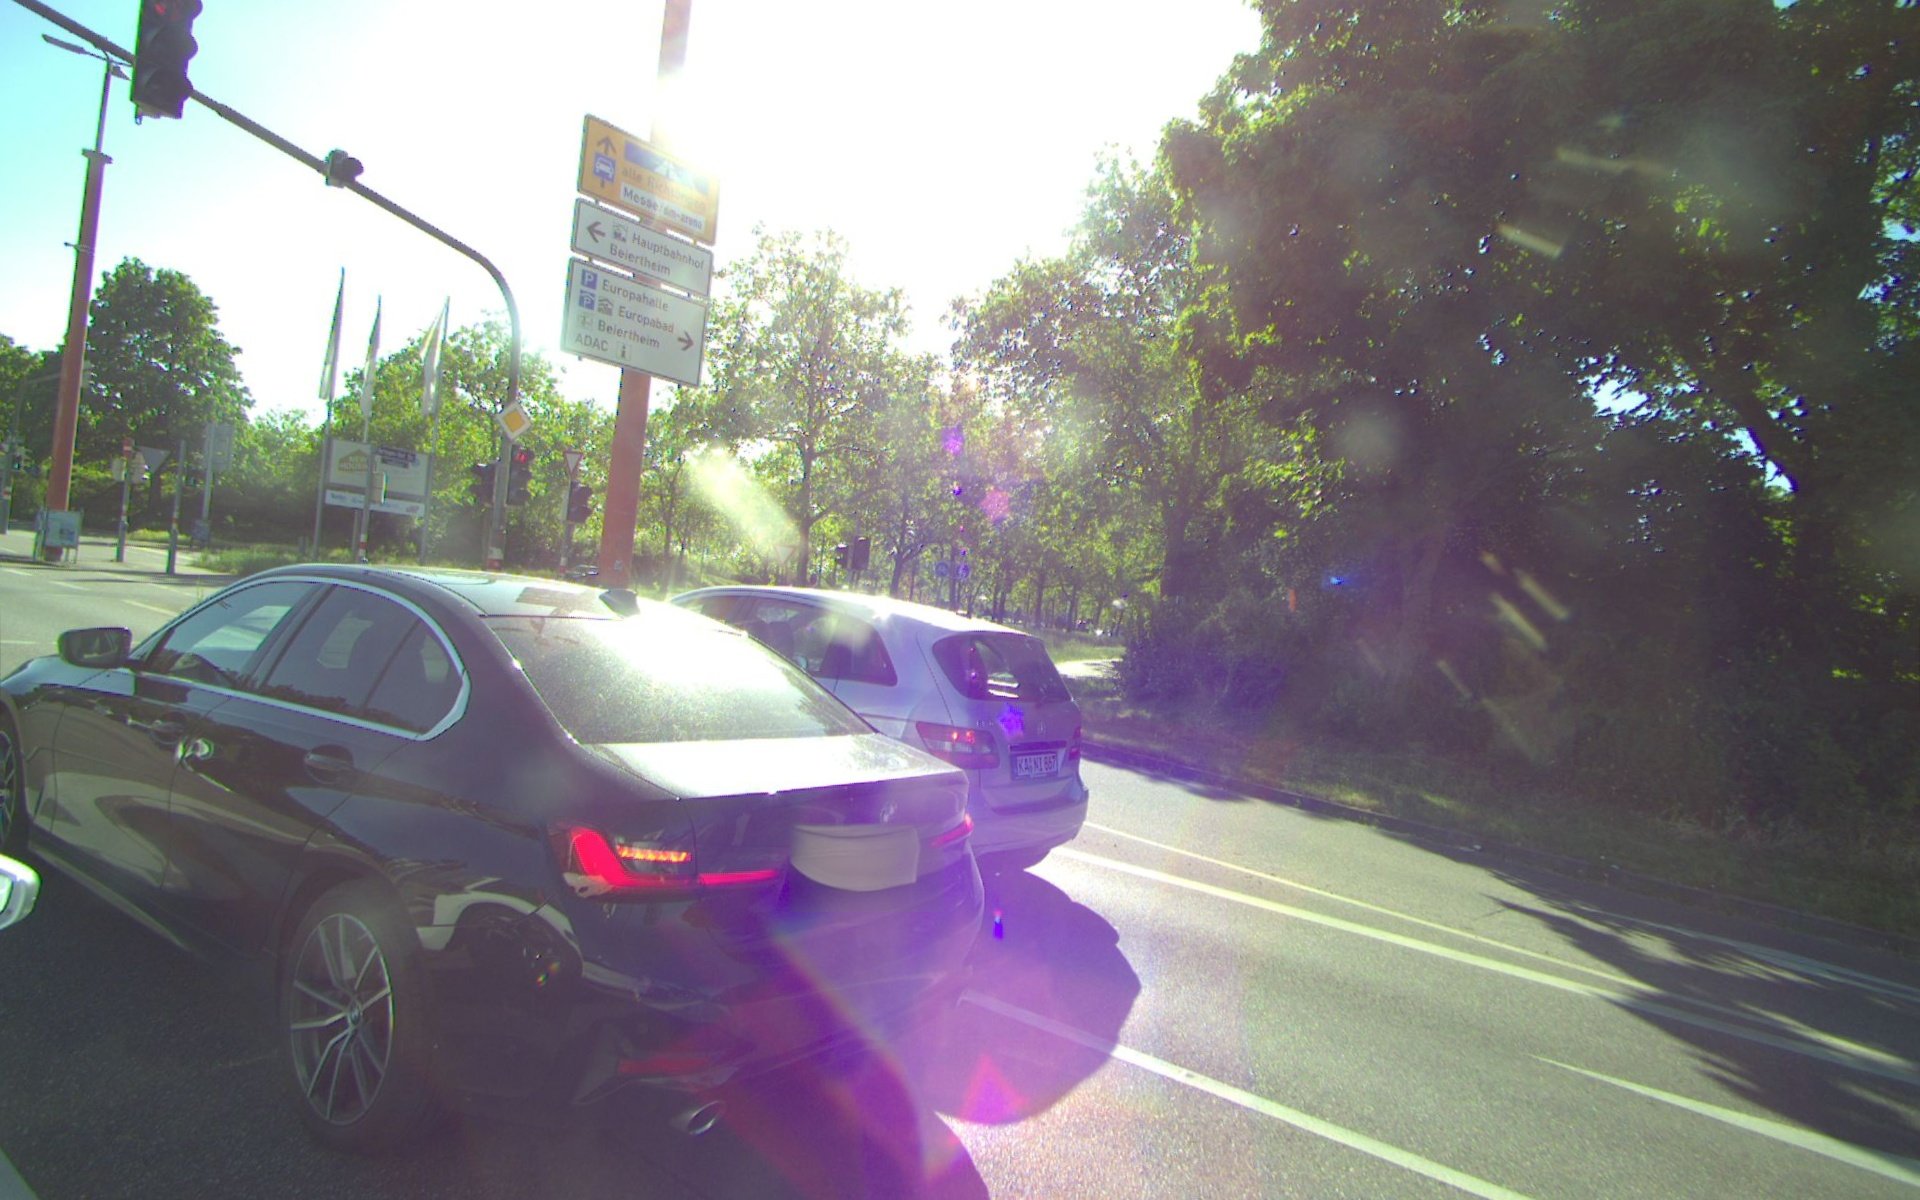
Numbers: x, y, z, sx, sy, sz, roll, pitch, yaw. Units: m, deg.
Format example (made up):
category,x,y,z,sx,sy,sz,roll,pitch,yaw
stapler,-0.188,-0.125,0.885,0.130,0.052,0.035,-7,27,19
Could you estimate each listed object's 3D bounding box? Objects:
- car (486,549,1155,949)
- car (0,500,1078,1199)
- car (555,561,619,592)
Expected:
category,x,y,z,sx,sy,sz,roll,pitch,yaw
car,-1.012,0.707,6.483,3.963,1.597,1.741,7,0,33
car,-1.990,0.545,3.837,4.372,1.415,1.871,7,0,34
car,-25.145,-1.541,67.986,1.834,1.597,4.002,7,-1,17
